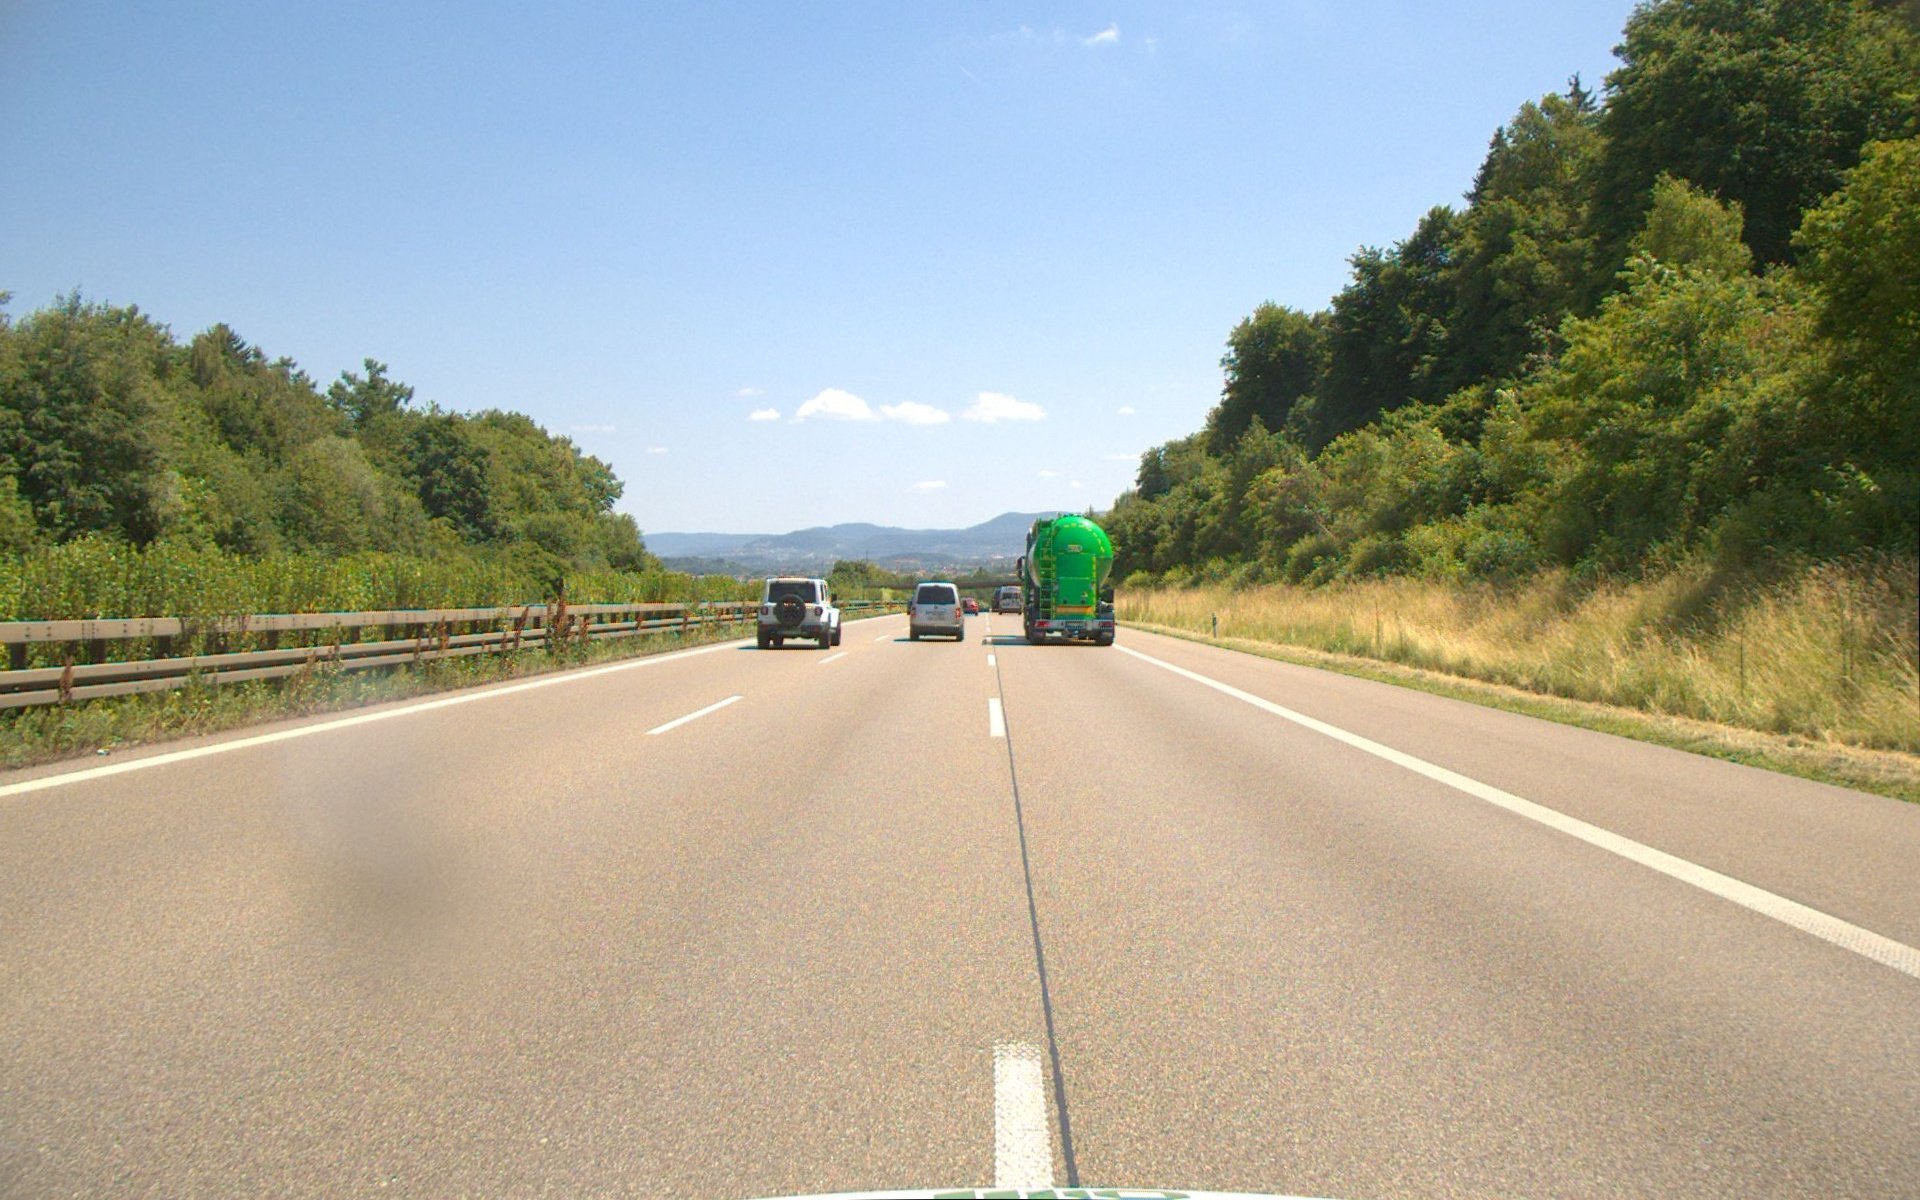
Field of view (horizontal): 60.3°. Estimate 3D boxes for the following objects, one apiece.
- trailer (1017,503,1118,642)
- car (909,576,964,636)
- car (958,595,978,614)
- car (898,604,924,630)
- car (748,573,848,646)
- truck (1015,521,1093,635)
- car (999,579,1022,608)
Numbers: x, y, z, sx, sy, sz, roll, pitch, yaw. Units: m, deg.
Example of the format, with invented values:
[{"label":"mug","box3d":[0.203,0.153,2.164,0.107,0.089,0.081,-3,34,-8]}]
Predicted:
[{"label":"trailer","box3d":[3.378,-0.838,54.477,2.534,4.098,10.469,1,0,0]},{"label":"car","box3d":[-0.770,0.166,54.663,1.710,1.861,4.800,1,0,-1]},{"label":"car","box3d":[0.691,0.368,139.772,1.416,1.577,3.358,1,0,4]},{"label":"car","box3d":[-4.048,1.374,137.194,1.952,2.049,4.000,1,0,1]},{"label":"car","box3d":[-4.341,0.234,45.127,2.040,1.861,4.755,1,0,2]},{"label":"truck","box3d":[3.354,-0.765,59.771,2.458,3.909,4.892,1,0,0]},{"label":"car","box3d":[4.659,-0.602,151.560,2.046,2.621,6.623,1,0,2]}]
